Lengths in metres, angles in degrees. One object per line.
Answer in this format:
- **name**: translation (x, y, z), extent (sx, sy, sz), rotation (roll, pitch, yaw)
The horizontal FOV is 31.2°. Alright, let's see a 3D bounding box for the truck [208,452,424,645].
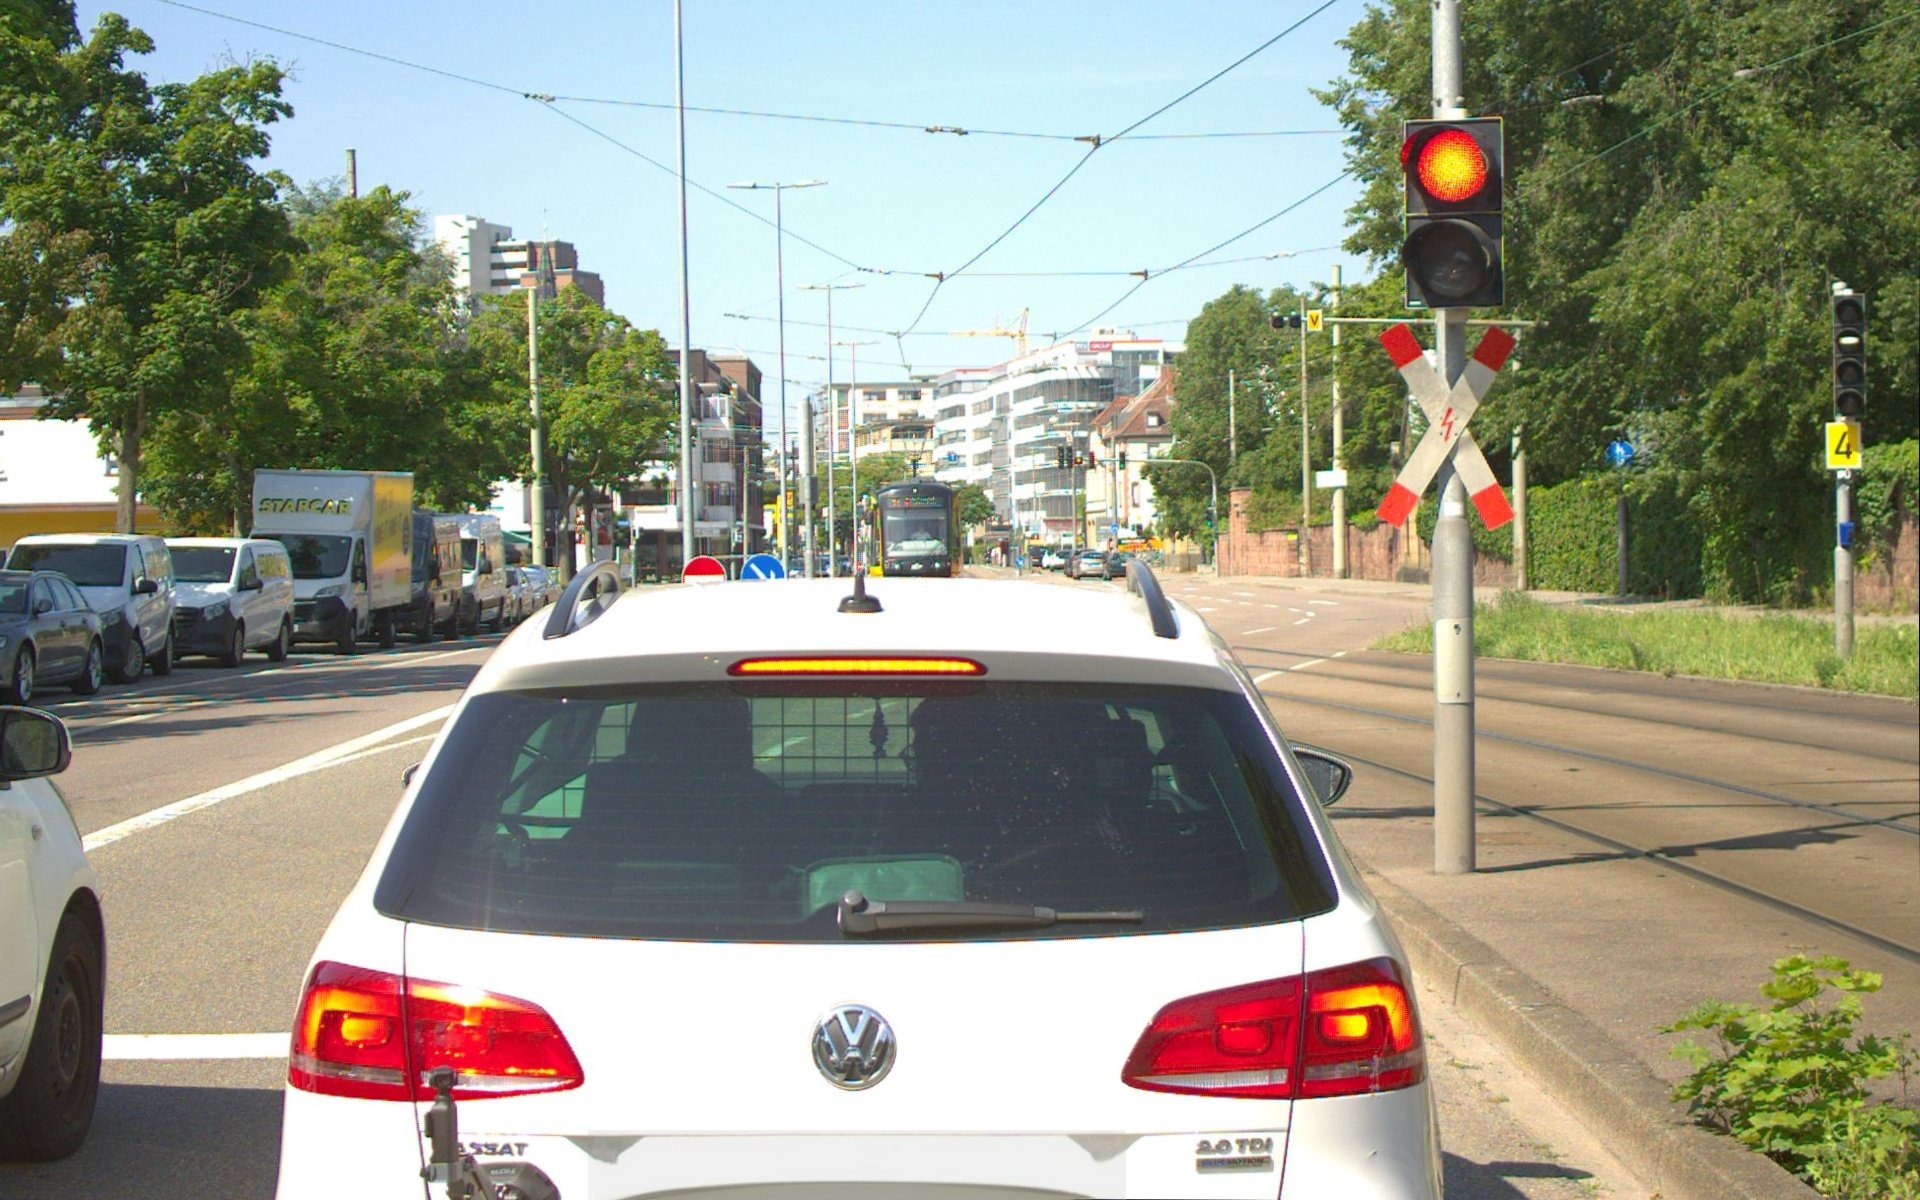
- **truck**: translation (-11.192, -0.914, 60.326), extent (2.421, 3.139, 6.997), rotation (1, 1, 0)

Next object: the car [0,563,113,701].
- **car**: translation (-10.986, 0.318, 38.755), extent (1.863, 1.411, 4.280), rotation (1, 1, -1)

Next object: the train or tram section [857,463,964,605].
- **train or tram section**: translation (-1.438, -1.923, 100.830), extent (2.870, 3.842, 12.392), rotation (-1, 1, -1)

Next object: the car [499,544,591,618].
- **car**: translation (-11.029, -0.541, 91.696), extent (1.863, 1.861, 5.414), rotation (1, 1, -1)

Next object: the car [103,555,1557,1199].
- **car**: translation (-0.171, 0.666, 6.217), extent (1.762, 1.425, 4.000), rotation (-1, 1, -1)

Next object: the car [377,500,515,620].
- **car**: translation (-11.269, -0.893, 75.765), extent (2.123, 2.508, 5.733), rotation (1, 1, 0)

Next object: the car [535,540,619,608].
- **car**: translation (-10.948, -0.764, 98.611), extent (1.863, 1.861, 5.414), rotation (1, 1, -1)

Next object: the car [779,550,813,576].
- **car**: translation (-9.735, -2.205, 204.008), extent (1.705, 1.468, 4.590), rotation (-2, 1, -6)

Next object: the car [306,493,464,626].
- **car**: translation (-11.363, -0.822, 68.329), extent (2.123, 2.508, 5.733), rotation (1, 1, 0)

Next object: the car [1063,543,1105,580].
- **car**: translation (6.523, -2.046, 180.914), extent (1.863, 1.861, 5.062), rotation (1, 1, -1)

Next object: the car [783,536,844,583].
- **car**: translation (-4.793, -1.337, 112.889), extent (1.705, 1.468, 4.589), rotation (-2, 1, 1)

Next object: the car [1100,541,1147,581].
- **car**: translation (7.827, -1.897, 164.948), extent (1.863, 1.861, 5.062), rotation (1, 1, -1)

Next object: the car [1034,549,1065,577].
- **car**: translation (6.126, -2.520, 235.085), extent (1.863, 1.861, 5.062), rotation (1, 1, -1)

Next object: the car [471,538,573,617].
- **car**: translation (-10.775, -0.592, 84.879), extent (1.863, 1.861, 5.414), rotation (1, 1, -1)

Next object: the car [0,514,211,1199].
- **car**: translation (-2.945, 0.587, 7.355), extent (1.662, 1.542, 4.547), rotation (0, 1, 0)

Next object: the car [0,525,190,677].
- **car**: translation (-11.392, -0.036, 45.183), extent (1.863, 1.861, 5.075), rotation (1, 1, -6)

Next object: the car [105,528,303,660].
- **car**: translation (-11.340, -0.134, 51.914), extent (1.863, 1.861, 5.414), rotation (1, 1, -1)
